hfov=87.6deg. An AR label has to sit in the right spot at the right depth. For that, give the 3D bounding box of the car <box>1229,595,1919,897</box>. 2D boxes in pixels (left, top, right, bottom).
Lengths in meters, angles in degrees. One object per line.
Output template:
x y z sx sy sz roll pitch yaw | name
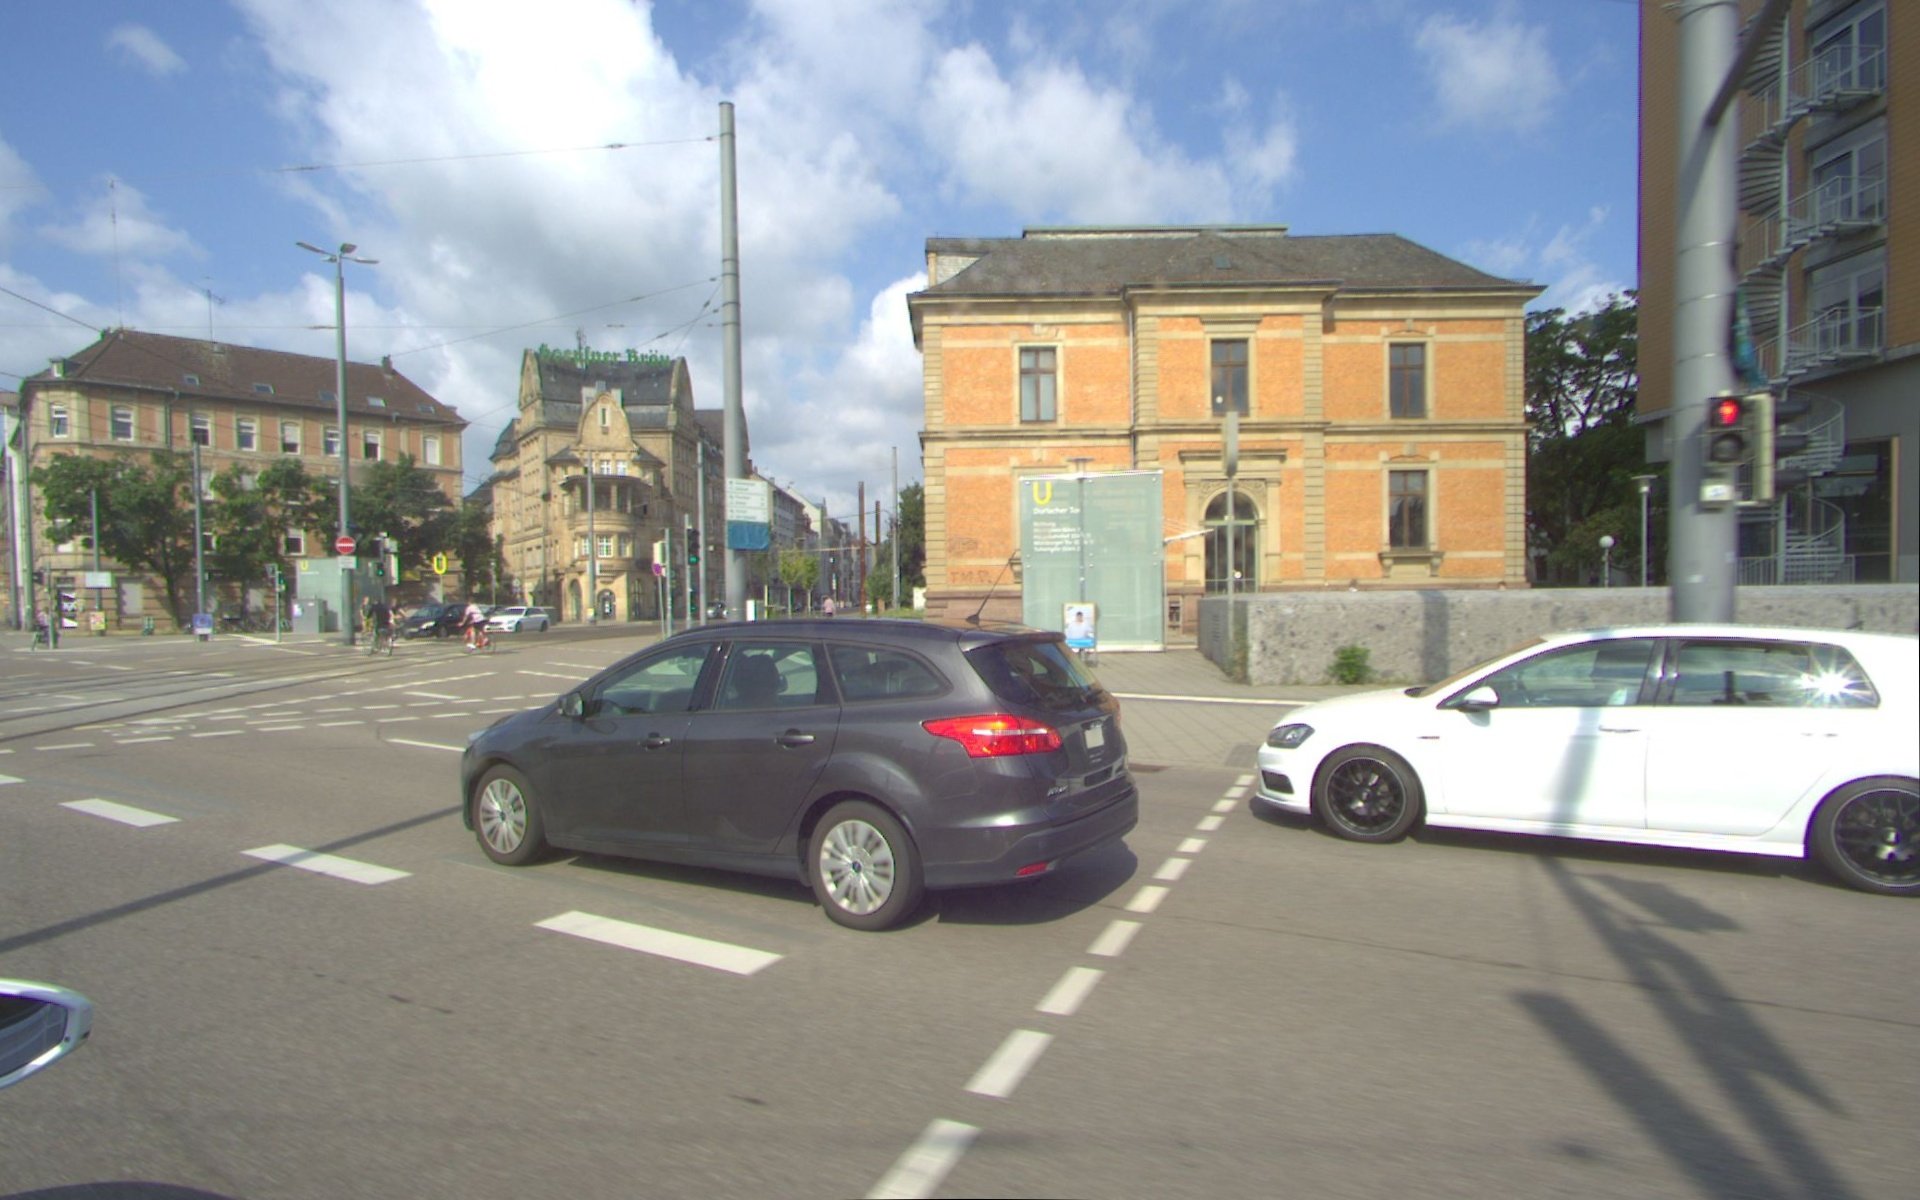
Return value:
4.064 0.790 6.481 4.168 1.464 1.678 1 -3 31 | car

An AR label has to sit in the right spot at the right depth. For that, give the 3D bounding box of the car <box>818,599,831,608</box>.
-25.058 0.622 185.664 1.815 1.559 3.821 -1 0 0 | car

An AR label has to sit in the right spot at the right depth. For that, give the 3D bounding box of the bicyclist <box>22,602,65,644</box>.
-37.530 0.937 41.018 0.771 1.680 1.196 0 0 -12 | bicyclist

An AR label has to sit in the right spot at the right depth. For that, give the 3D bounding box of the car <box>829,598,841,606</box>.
-25.078 0.413 201.213 1.815 1.559 3.821 -1 0 0 | car

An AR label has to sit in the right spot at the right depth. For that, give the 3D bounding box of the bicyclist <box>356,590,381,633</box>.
-23.871 0.468 40.407 0.645 1.692 0.572 -1 -2 26 | bicyclist

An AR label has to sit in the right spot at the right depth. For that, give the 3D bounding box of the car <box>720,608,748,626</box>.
-22.616 1.716 100.362 1.815 1.683 4.002 0 -2 0 | car

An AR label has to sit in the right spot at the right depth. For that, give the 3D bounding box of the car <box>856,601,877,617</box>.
-10.469 1.073 112.512 1.722 1.549 4.003 2 -3 3 | car

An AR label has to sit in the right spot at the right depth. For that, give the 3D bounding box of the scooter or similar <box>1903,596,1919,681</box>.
13.761 0.543 13.821 0.395 1.212 1.186 0 1 3 | scooter or similar

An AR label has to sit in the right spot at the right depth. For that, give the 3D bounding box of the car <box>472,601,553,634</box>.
-23.416 0.880 52.575 1.961 1.617 4.684 0 0 3 | car

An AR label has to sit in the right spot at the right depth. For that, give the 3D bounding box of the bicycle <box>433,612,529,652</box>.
-14.173 0.969 29.592 3.063 1.040 0.992 -3 -4 29 | bicycle

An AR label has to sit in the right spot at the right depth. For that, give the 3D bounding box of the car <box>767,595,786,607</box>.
-25.678 0.178 140.246 1.815 1.559 3.820 -1 1 0 | car

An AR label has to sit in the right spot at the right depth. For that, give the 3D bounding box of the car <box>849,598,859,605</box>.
-25.648 0.334 242.561 1.815 1.559 3.821 -1 0 0 | car

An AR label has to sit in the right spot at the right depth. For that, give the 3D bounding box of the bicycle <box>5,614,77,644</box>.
-37.523 1.176 40.937 0.884 1.186 2.678 0 0 -12 | bicycle

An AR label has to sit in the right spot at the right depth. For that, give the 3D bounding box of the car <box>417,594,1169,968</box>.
-1.064 0.762 5.929 4.189 1.549 1.765 0 1 28 | car

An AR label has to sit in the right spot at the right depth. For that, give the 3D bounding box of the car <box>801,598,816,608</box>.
-25.674 0.484 169.770 1.815 1.559 3.821 -1 0 0 | car

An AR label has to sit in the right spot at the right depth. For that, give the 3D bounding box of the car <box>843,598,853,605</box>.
-25.400 0.364 226.365 1.815 1.559 3.821 -1 0 0 | car

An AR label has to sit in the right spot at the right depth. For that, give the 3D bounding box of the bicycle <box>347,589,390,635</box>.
-23.857 0.508 40.378 1.611 1.800 0.729 -1 -2 26 | bicycle

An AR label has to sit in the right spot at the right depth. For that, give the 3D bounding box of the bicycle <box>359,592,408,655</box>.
-16.867 0.709 29.254 0.996 1.747 2.453 1 -2 -35 | bicycle

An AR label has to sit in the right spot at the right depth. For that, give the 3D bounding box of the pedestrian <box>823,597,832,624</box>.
-7.529 0.607 56.824 0.497 1.525 0.499 -1 1 -5 | pedestrian

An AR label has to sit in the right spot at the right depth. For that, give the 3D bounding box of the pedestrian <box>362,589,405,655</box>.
-16.824 0.657 29.206 0.983 1.864 0.990 1 -2 -35 | pedestrian

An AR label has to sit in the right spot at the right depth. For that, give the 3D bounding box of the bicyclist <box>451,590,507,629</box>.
-14.257 0.287 29.668 1.197 1.040 0.990 -4 -4 29 | bicyclist

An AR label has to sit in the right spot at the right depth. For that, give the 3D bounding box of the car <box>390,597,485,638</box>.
-23.963 0.845 46.131 1.961 1.761 4.344 0 -2 2 | car

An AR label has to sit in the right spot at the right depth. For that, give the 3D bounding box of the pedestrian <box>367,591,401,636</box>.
-24.116 0.583 41.946 0.871 1.833 0.866 0 -2 18 | pedestrian
